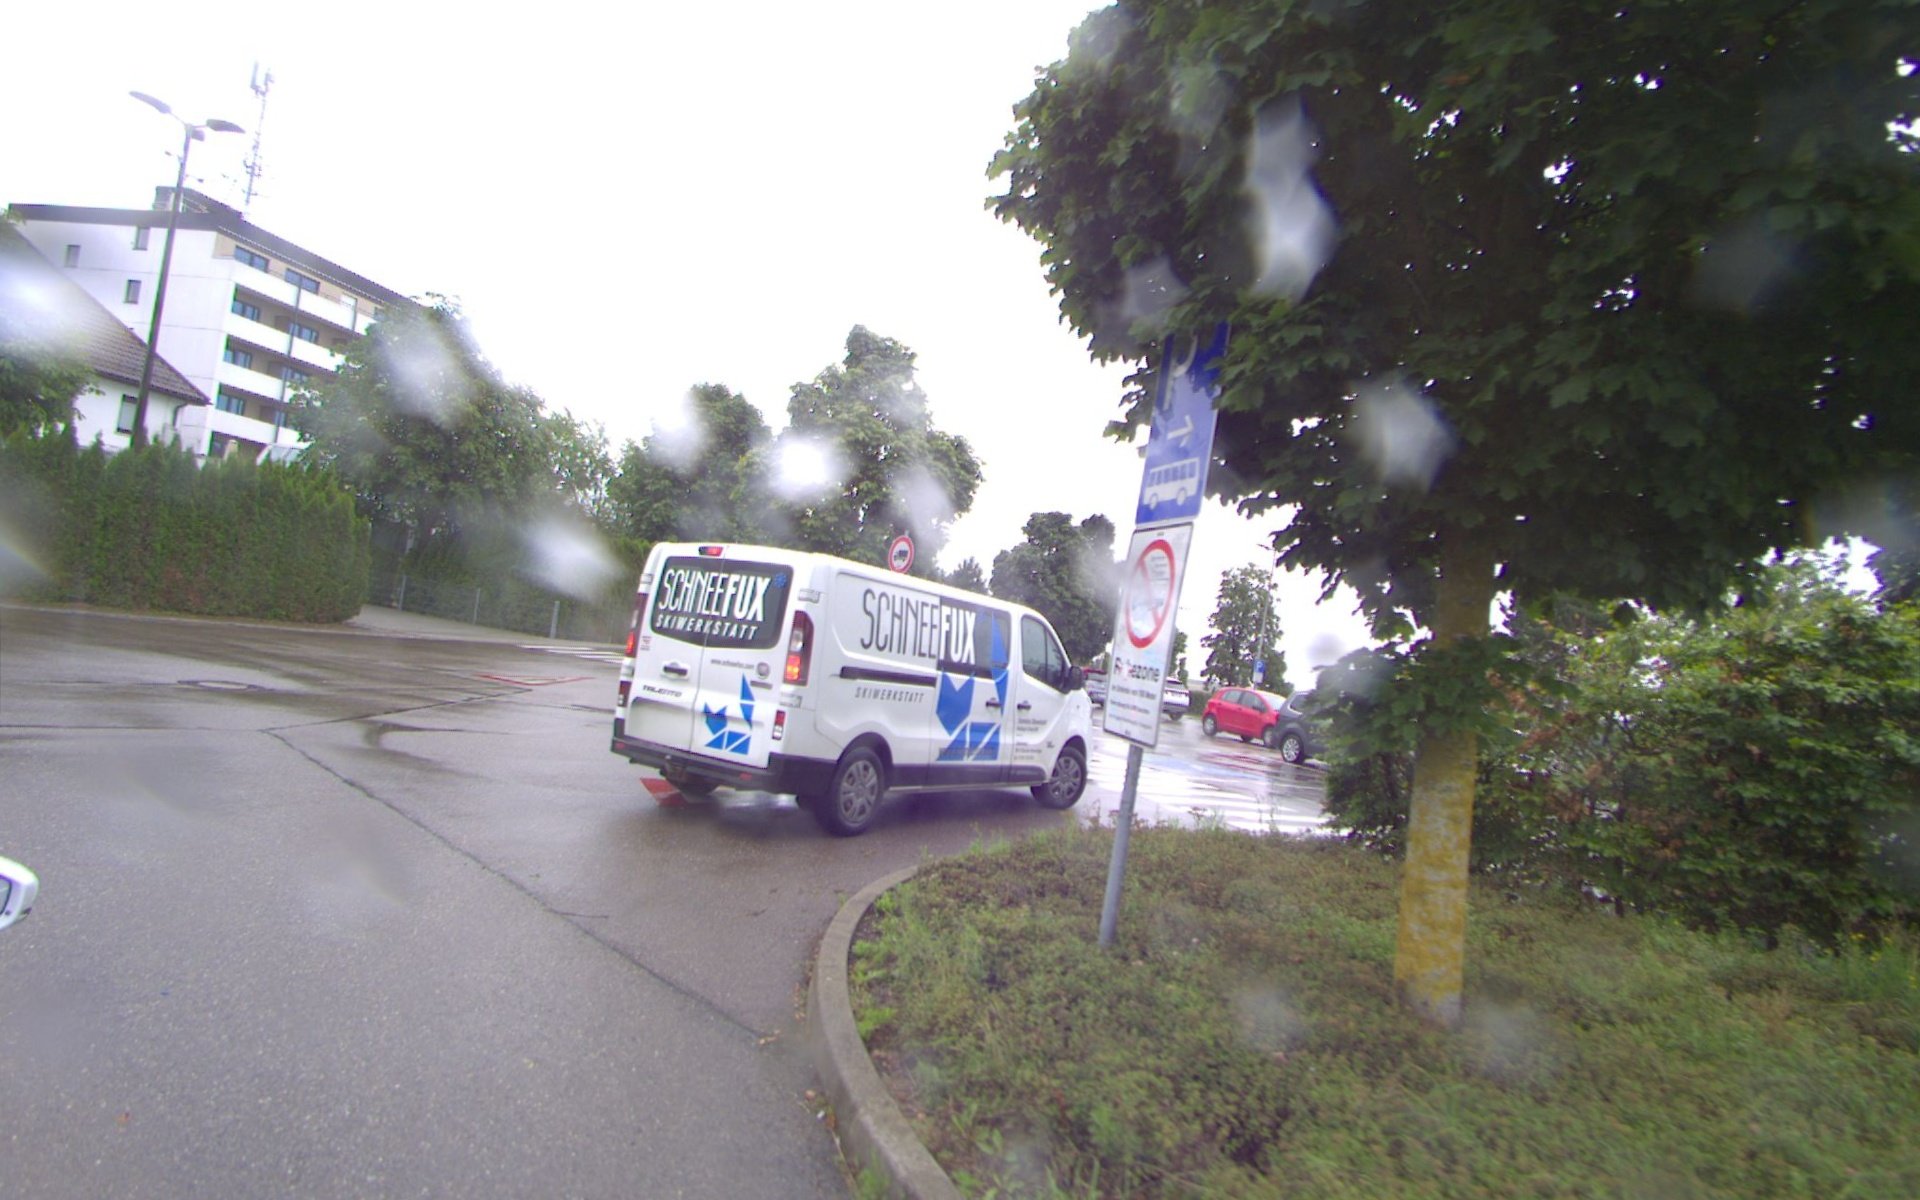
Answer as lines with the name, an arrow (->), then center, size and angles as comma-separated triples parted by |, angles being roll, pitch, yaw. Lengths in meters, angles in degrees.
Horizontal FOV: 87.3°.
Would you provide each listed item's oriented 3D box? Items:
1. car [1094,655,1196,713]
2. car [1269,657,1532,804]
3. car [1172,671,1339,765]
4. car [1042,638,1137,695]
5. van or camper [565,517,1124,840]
car -> 7.436, 3.369, 40.735 | 1.695, 1.713, 4.017 | 8, -1, -30
car -> 9.003, 2.600, 21.077 | 1.976, 2.214, 4.740 | 8, -1, -25
car -> 8.353, 3.311, 28.842 | 1.904, 1.907, 4.370 | 8, -1, -28
car -> 5.052, 2.586, 39.816 | 1.777, 1.713, 4.027 | 8, -1, -23
van or camper -> -0.583, 0.769, 9.152 | 2.158, 1.966, 5.195 | 6, -4, 31
